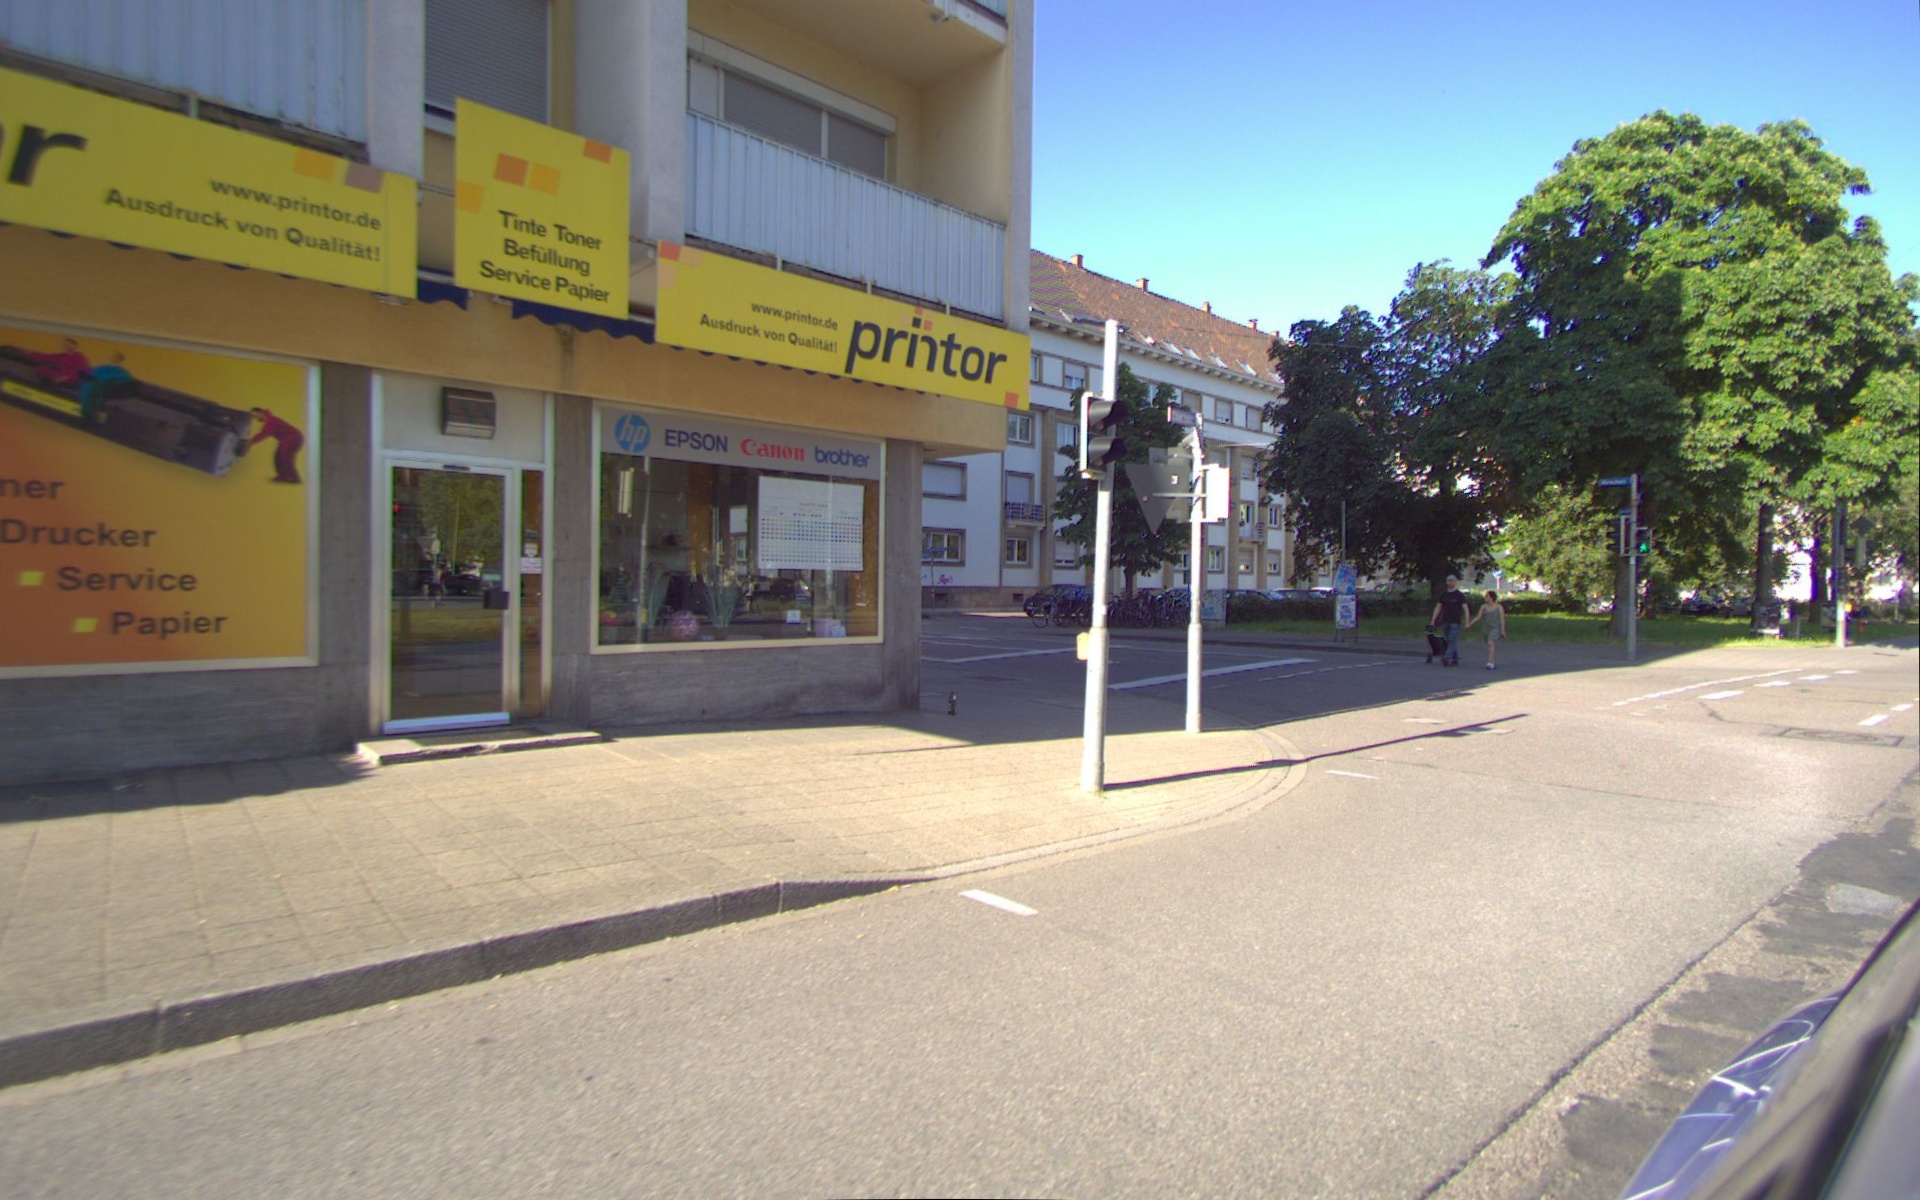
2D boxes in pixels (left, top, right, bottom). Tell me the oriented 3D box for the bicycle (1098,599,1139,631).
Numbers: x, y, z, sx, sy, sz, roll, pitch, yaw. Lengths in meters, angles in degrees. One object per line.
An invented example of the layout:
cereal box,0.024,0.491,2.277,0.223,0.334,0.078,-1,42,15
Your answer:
bicycle,5.574,0.507,35.504,1.798,1.108,0.365,0,1,-43

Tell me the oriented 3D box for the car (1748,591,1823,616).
car,46.773,0.182,57.350,4.192,1.340,2.002,0,1,-31

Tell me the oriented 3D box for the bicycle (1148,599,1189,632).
bicycle,7.066,0.511,34.312,1.798,1.108,0.365,0,1,-43

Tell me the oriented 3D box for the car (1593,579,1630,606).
car,43.301,-0.523,67.275,1.985,1.720,4.227,1,1,33

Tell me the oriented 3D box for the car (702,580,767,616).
car,-11.155,-0.133,49.916,1.659,1.671,3.999,0,1,-36

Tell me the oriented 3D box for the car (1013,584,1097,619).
car,4.584,0.060,48.446,3.932,1.589,1.844,0,1,-42

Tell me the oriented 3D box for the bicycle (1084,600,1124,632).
bicycle,5.136,0.562,36.014,1.798,1.108,0.365,0,1,-43

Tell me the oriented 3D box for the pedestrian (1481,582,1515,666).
pedestrian,10.324,0.443,19.415,0.501,1.565,0.513,2,2,33

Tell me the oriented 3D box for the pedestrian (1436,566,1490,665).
pedestrian,9.805,0.268,19.714,0.784,1.850,1.022,2,2,32

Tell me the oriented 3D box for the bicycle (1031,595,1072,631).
bicycle,3.409,0.485,37.692,1.798,1.302,0.432,0,1,-43

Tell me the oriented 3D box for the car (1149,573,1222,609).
car,12.212,-0.472,54.737,3.932,1.867,1.996,0,1,-42

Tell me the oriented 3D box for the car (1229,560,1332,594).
car,14.315,-1.026,45.390,1.964,1.466,3.996,0,1,-39

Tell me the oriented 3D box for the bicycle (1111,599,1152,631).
bicycle,5.945,0.509,35.046,1.798,1.108,0.365,0,1,-43

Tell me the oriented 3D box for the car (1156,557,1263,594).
car,10.392,-1.006,42.343,1.964,1.466,3.996,0,1,-39

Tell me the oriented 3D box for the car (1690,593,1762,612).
car,45.306,0.139,59.839,4.192,1.080,2.002,0,1,-31

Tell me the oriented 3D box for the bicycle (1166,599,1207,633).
bicycle,7.598,0.511,33.873,1.798,1.108,0.365,0,1,-43

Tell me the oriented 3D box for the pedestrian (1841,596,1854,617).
pedestrian,48.784,0.353,55.603,0.602,1.092,0.459,0,0,-41

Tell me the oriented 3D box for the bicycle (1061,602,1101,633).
bicycle,4.408,0.637,36.826,1.798,1.108,0.365,0,1,-43

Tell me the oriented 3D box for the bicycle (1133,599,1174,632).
bicycle,6.615,0.511,34.555,1.798,1.108,0.365,0,1,-43

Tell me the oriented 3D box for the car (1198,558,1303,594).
car,12.521,-1.022,43.809,1.964,1.466,3.996,0,1,-39

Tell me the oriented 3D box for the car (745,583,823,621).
car,-8.090,0.055,46.261,1.963,1.671,3.999,0,1,-36

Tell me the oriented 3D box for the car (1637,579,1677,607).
car,44.155,-0.442,64.101,1.988,1.720,4.222,1,1,36

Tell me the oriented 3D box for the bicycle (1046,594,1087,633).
bicycle,3.934,0.486,37.307,1.798,1.405,0.432,0,1,-43
